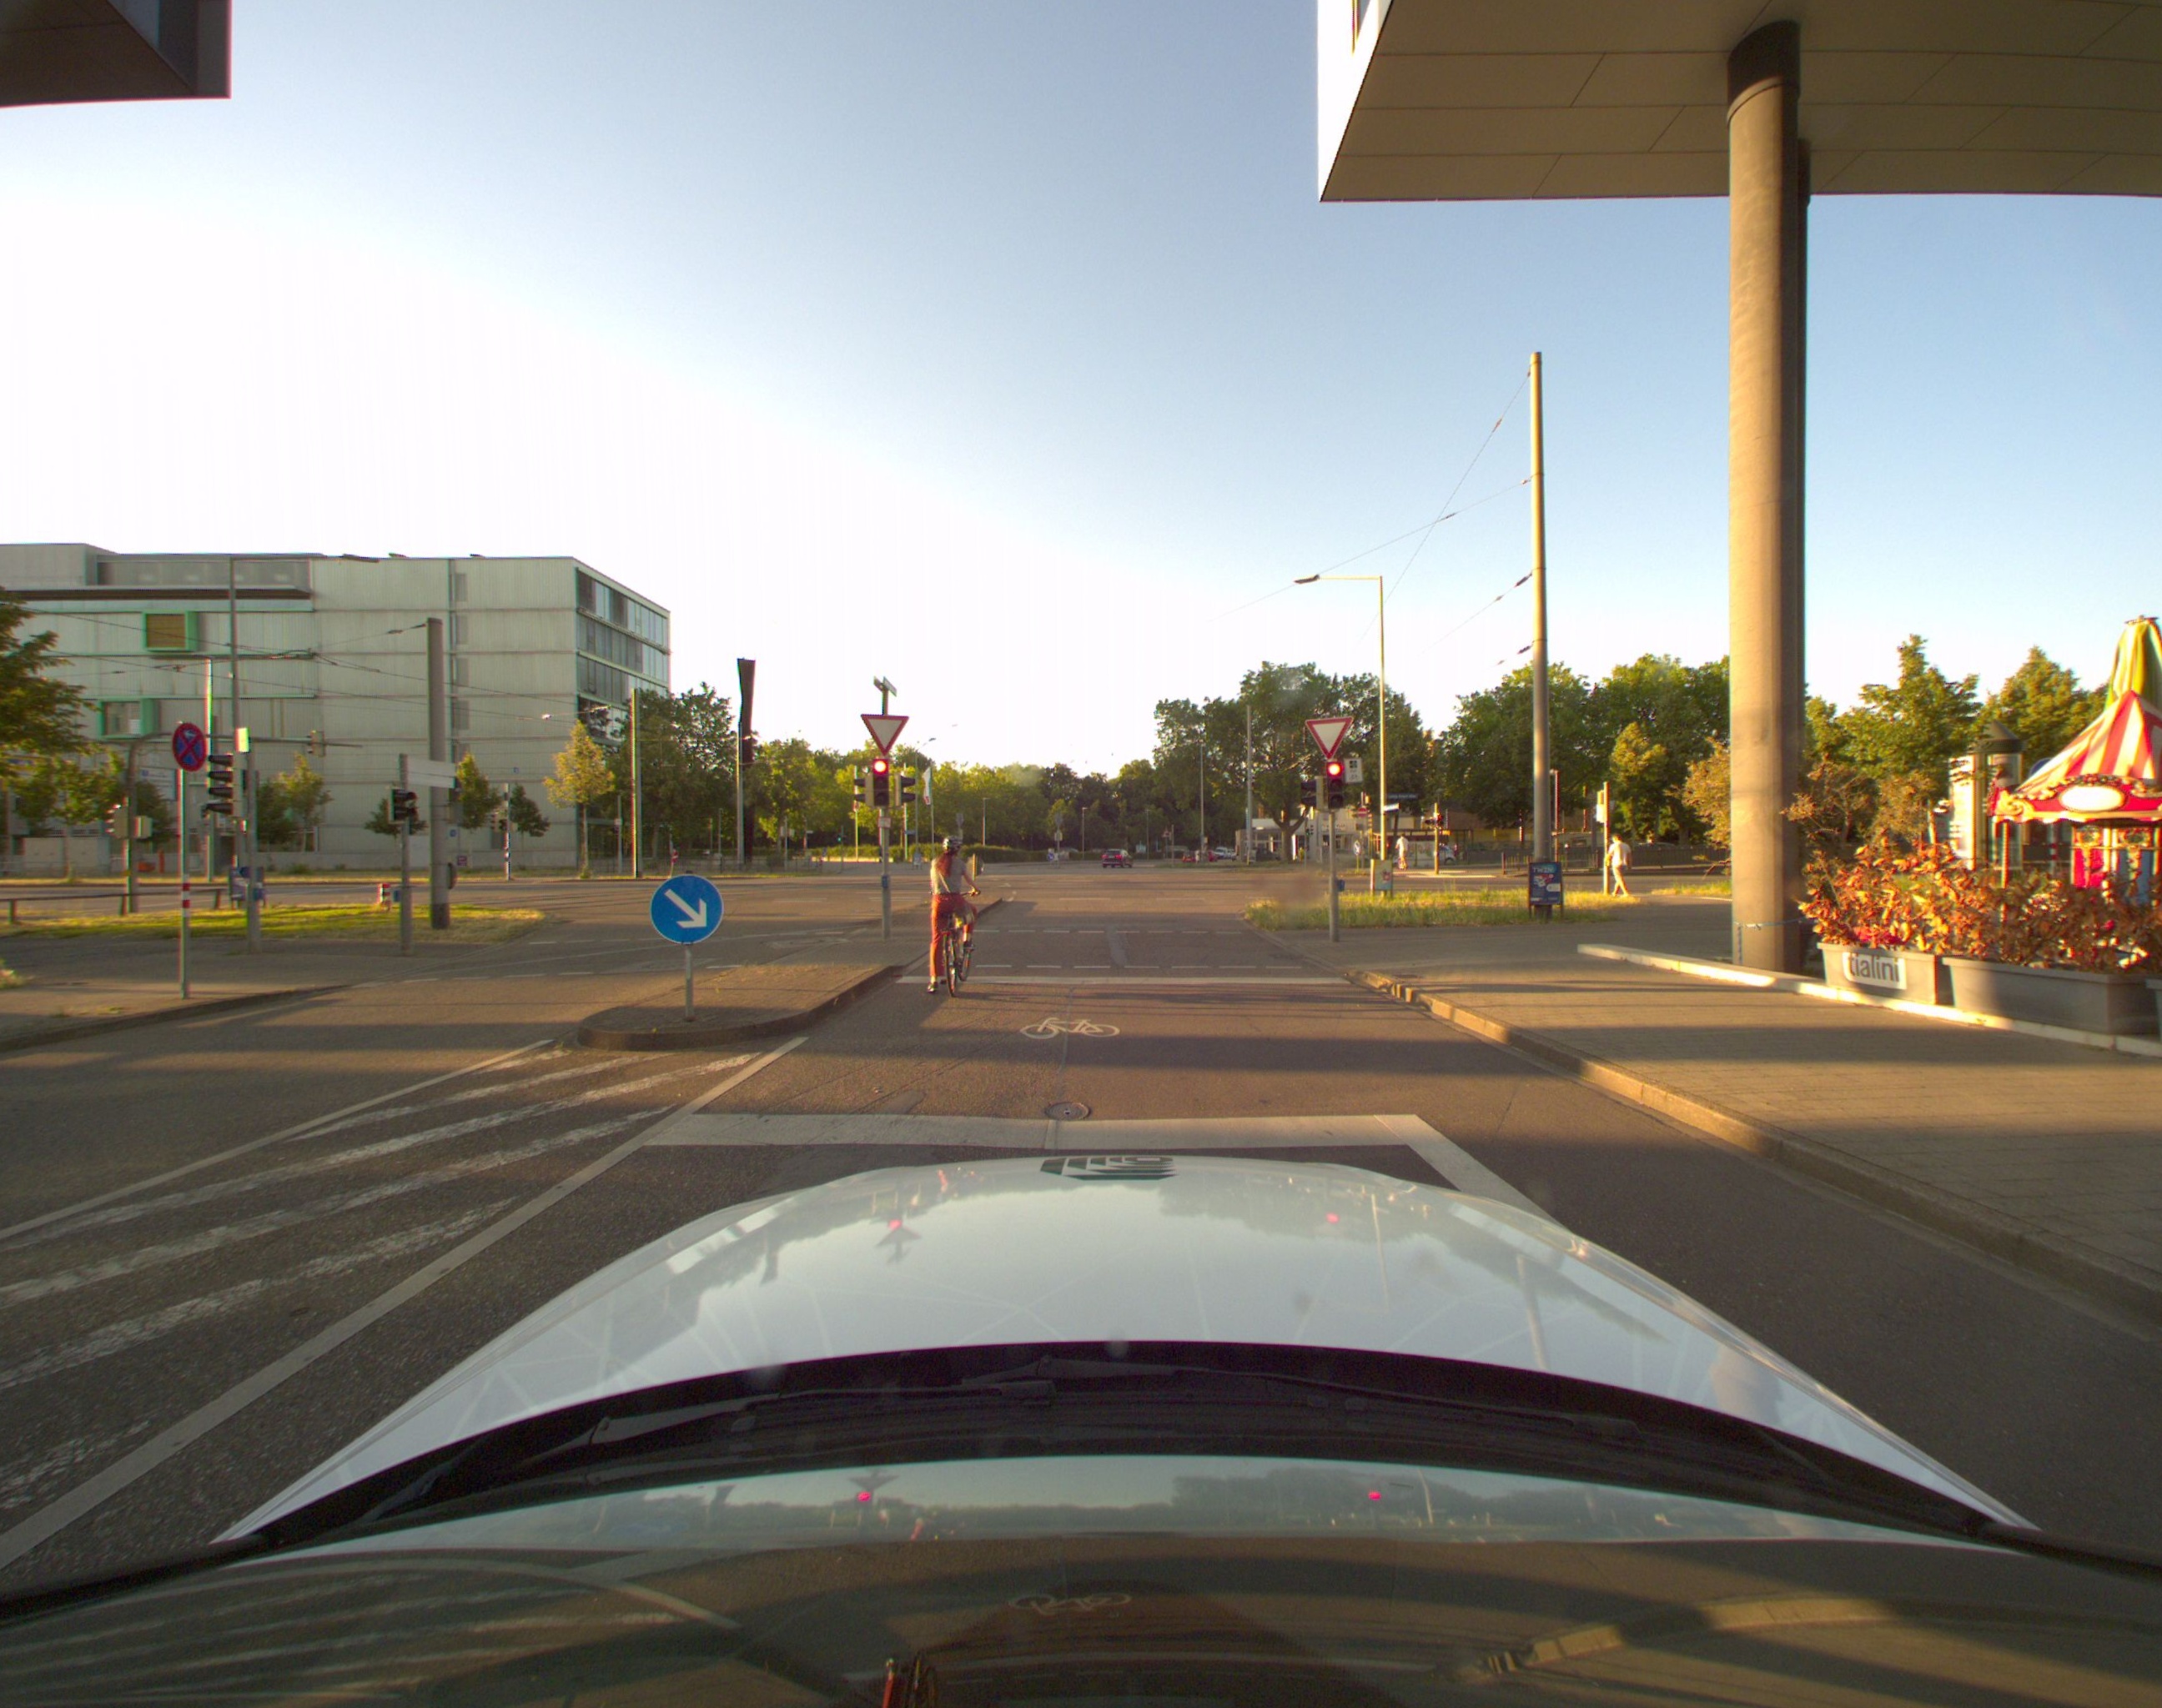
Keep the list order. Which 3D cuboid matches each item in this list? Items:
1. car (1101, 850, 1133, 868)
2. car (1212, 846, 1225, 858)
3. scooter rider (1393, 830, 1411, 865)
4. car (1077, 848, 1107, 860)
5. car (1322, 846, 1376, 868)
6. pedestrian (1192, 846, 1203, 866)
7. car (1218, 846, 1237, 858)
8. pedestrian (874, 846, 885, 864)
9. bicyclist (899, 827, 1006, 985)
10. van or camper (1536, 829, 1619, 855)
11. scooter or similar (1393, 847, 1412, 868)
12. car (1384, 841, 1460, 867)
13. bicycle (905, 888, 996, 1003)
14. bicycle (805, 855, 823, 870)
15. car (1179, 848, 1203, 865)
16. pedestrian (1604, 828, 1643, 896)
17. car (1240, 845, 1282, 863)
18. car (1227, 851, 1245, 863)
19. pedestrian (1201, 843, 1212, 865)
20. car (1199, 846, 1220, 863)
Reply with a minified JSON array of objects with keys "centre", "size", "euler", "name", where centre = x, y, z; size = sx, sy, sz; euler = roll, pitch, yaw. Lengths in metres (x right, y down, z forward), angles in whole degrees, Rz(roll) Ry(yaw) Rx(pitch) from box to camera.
[{"centre":[3.124,0.443,69.903],"size":[1.742,1.541,4.418],"euler":[-1,-1,15],"name":"car"},{"centre":[22.073,-0.333,130.874],"size":[1.982,2.013,4.010],"euler":[-1,0,9],"name":"car"},{"centre":[17.071,-0.343,43.328],"size":[0.699,1.855,0.669],"euler":[0,-1,1],"name":"scooter rider"},{"centre":[1.483,-0.021,109.427],"size":[3.970,1.561,2.002],"euler":[-1,0,3],"name":"car"},{"centre":[23.660,0.281,72.107],"size":[4.211,1.846,2.002],"euler":[-1,0,4],"name":"car"},{"centre":[9.724,0.136,68.020],"size":[0.712,1.639,0.903],"euler":[-1,0,26],"name":"pedestrian"},{"centre":[24.395,-0.314,135.407],"size":[1.975,2.013,4.024],"euler":[-1,0,27],"name":"car"},{"centre":[-19.847,0.104,80.232],"size":[0.898,1.754,0.715],"euler":[-1,0,-24],"name":"pedestrian"},{"centre":[-1.454,0.567,9.423],"size":[1.028,1.717,0.996],"euler":[-1,0,1],"name":"bicyclist"},{"centre":[47.938,-1.133,78.740],"size":[6.530,2.410,2.268],"euler":[-1,0,6],"name":"van or camper"},{"centre":[17.084,0.183,43.274],"size":[0.508,1.090,1.243],"euler":[-1,0,2],"name":"scooter or similar"},{"centre":[23.656,-0.024,56.521],"size":[4.523,1.728,1.860],"euler":[-1,0,-3],"name":"car"},{"centre":[-1.446,0.980,9.407],"size":[0.632,1.068,2.123],"euler":[-1,0,2],"name":"bicycle"},{"centre":[-20.752,0.642,63.329],"size":[0.697,1.136,2.392],"euler":[-1,0,-1],"name":"bicycle"},{"centre":[12.920,0.258,95.584],"size":[1.852,1.874,3.896],"euler":[0,0,23],"name":"car"},{"centre":[14.604,0.207,21.955],"size":[0.754,1.791,0.807],"euler":[0,0,25],"name":"pedestrian"},{"centre":[19.583,0.004,88.684],"size":[4.354,1.835,1.952],"euler":[-1,0,6],"name":"car"},{"centre":[21.914,0.375,115.118],"size":[1.899,1.602,4.020],"euler":[0,0,20],"name":"car"},{"centre":[10.401,-0.014,67.516],"size":[0.712,1.754,0.903],"euler":[-1,0,26],"name":"pedestrian"},{"centre":[16.252,0.083,103.125],"size":[1.899,2.047,4.020],"euler":[0,0,20],"name":"car"}]
